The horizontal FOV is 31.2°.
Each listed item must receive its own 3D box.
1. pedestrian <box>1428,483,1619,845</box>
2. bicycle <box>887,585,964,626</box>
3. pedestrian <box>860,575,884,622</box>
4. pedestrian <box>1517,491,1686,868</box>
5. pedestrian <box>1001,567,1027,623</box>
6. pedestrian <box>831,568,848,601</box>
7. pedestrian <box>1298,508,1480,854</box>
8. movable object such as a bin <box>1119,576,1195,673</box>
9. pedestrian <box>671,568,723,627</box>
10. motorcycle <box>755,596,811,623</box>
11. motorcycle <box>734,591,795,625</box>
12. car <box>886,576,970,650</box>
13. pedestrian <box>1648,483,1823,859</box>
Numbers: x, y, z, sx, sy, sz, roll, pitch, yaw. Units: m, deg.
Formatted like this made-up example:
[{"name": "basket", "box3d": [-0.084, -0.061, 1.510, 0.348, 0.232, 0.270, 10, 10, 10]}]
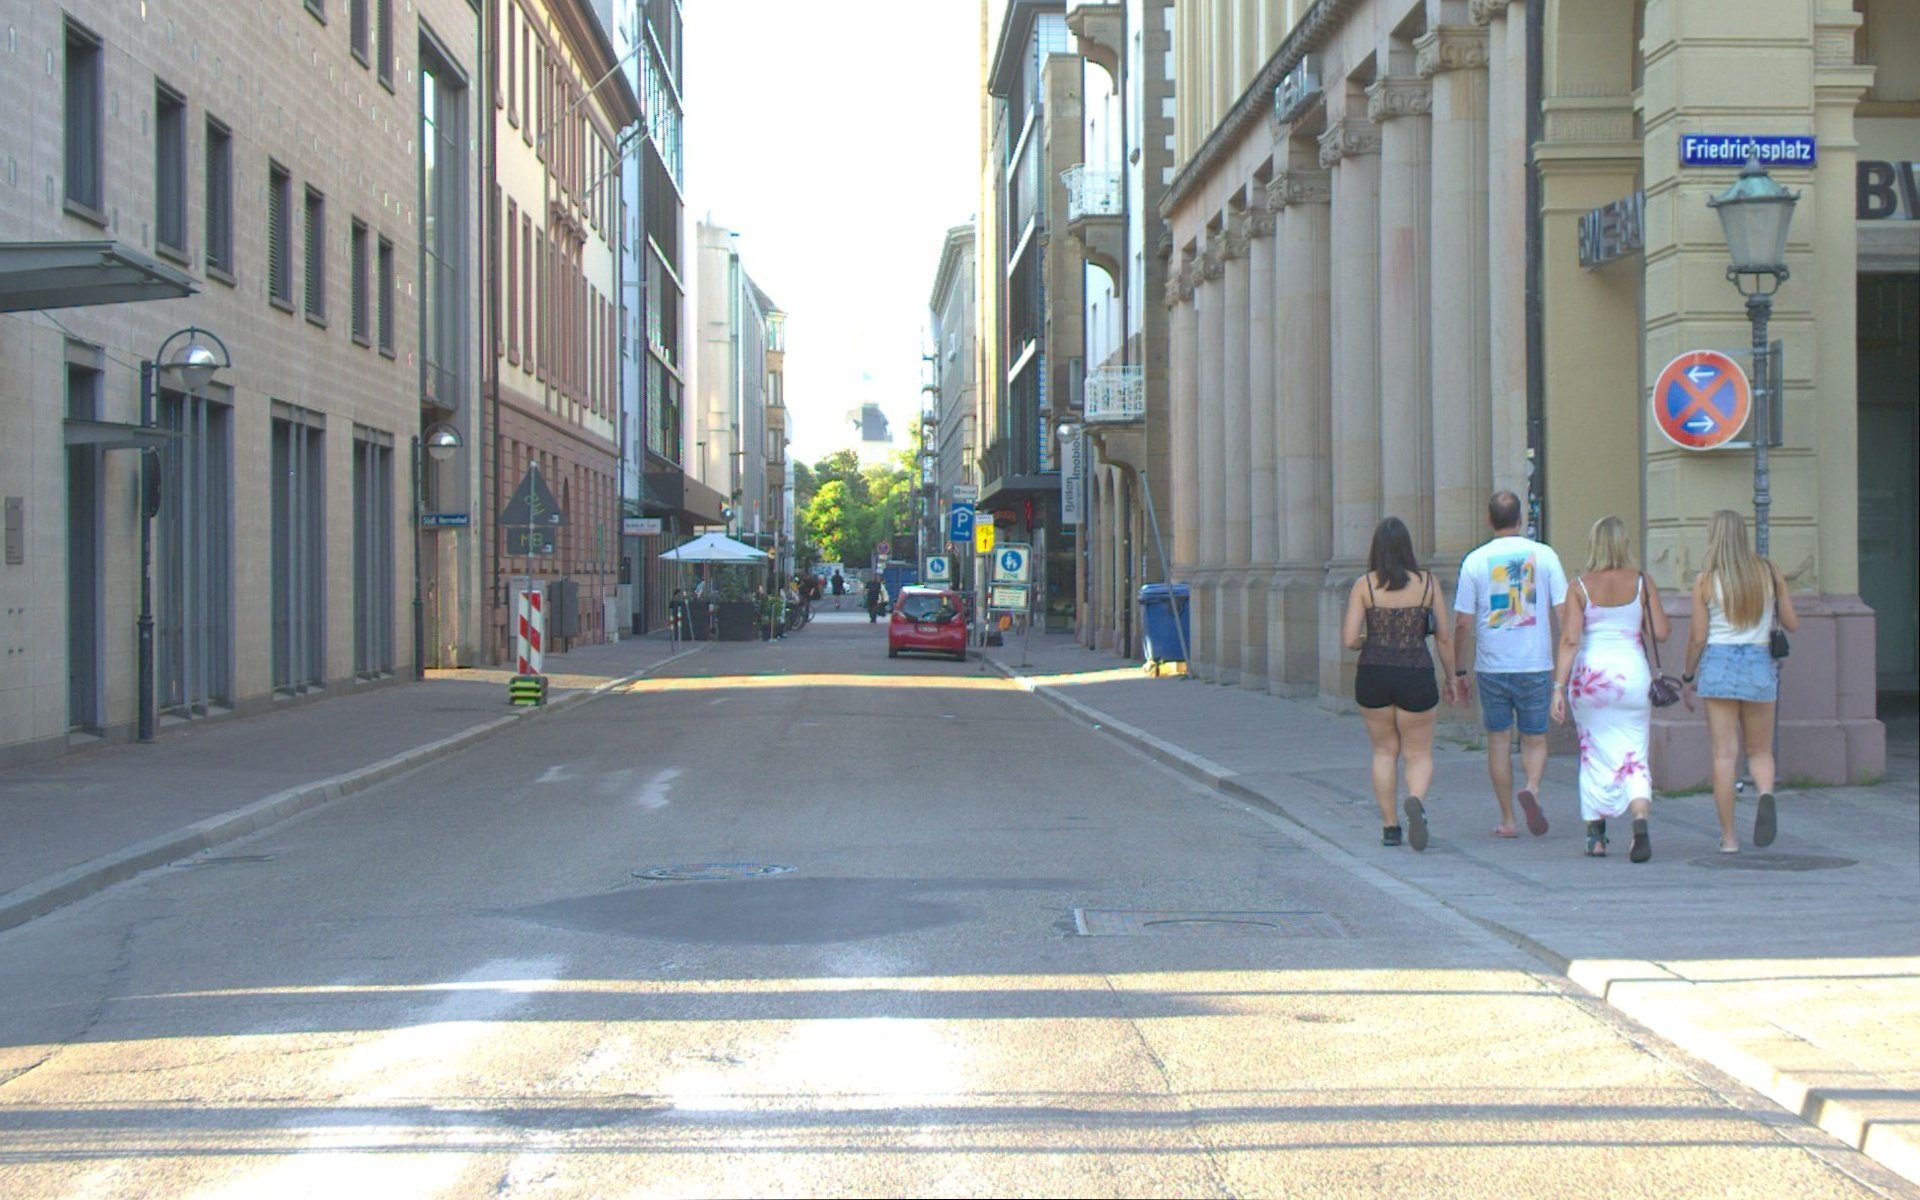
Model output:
[{"name": "pedestrian", "box3d": [2.983, 0.329, 18.268, 0.812, 1.869, 0.875, -1, 0, -2]}, {"name": "bicycle", "box3d": [-0.938, 0.146, 93.628, 2.052, 1.130, 0.649, 0, 0, -5]}, {"name": "pedestrian", "box3d": [-3.260, -0.053, 127.005, 0.865, 1.707, 0.852, 0, 0, -2]}, {"name": "pedestrian", "box3d": [3.143, 0.379, 16.887, 0.636, 1.797, 0.772, -1, 0, -2]}, {"name": "pedestrian", "box3d": [1.440, -0.132, 91.376, 0.656, 1.482, 0.493, -1, 0, 1]}, {"name": "pedestrian", "box3d": [-6.139, -0.806, 175.368, 0.804, 1.667, 0.888, 0, 0, 0]}, {"name": "pedestrian", "box3d": [2.213, 0.405, 17.822, 0.775, 1.740, 0.875, -1, 0, -2]}, {"name": "movable object such as a bin", "box3d": [2.917, 0.355, 50.949, 0.990, 1.387, 1.241, -1, 0, -2]}, {"name": "pedestrian", "box3d": [-6.684, -0.061, 87.380, 1.290, 1.482, 0.661, 0, 0, -3]}, {"name": "motorcycle", "box3d": [-5.757, 0.293, 111.572, 1.801, 0.872, 0.560, 0, 0, -5]}, {"name": "motorcycle", "box3d": [-5.890, 0.242, 103.434, 1.801, 1.037, 0.494, 0, 0, -5]}, {"name": "car", "box3d": [-0.673, 0.259, 71.776, 1.649, 1.422, 3.535, 3, 0, -1]}, {"name": "pedestrian", "box3d": [3.807, 0.338, 16.913, 0.636, 1.797, 0.772, -1, 0, -2]}]
